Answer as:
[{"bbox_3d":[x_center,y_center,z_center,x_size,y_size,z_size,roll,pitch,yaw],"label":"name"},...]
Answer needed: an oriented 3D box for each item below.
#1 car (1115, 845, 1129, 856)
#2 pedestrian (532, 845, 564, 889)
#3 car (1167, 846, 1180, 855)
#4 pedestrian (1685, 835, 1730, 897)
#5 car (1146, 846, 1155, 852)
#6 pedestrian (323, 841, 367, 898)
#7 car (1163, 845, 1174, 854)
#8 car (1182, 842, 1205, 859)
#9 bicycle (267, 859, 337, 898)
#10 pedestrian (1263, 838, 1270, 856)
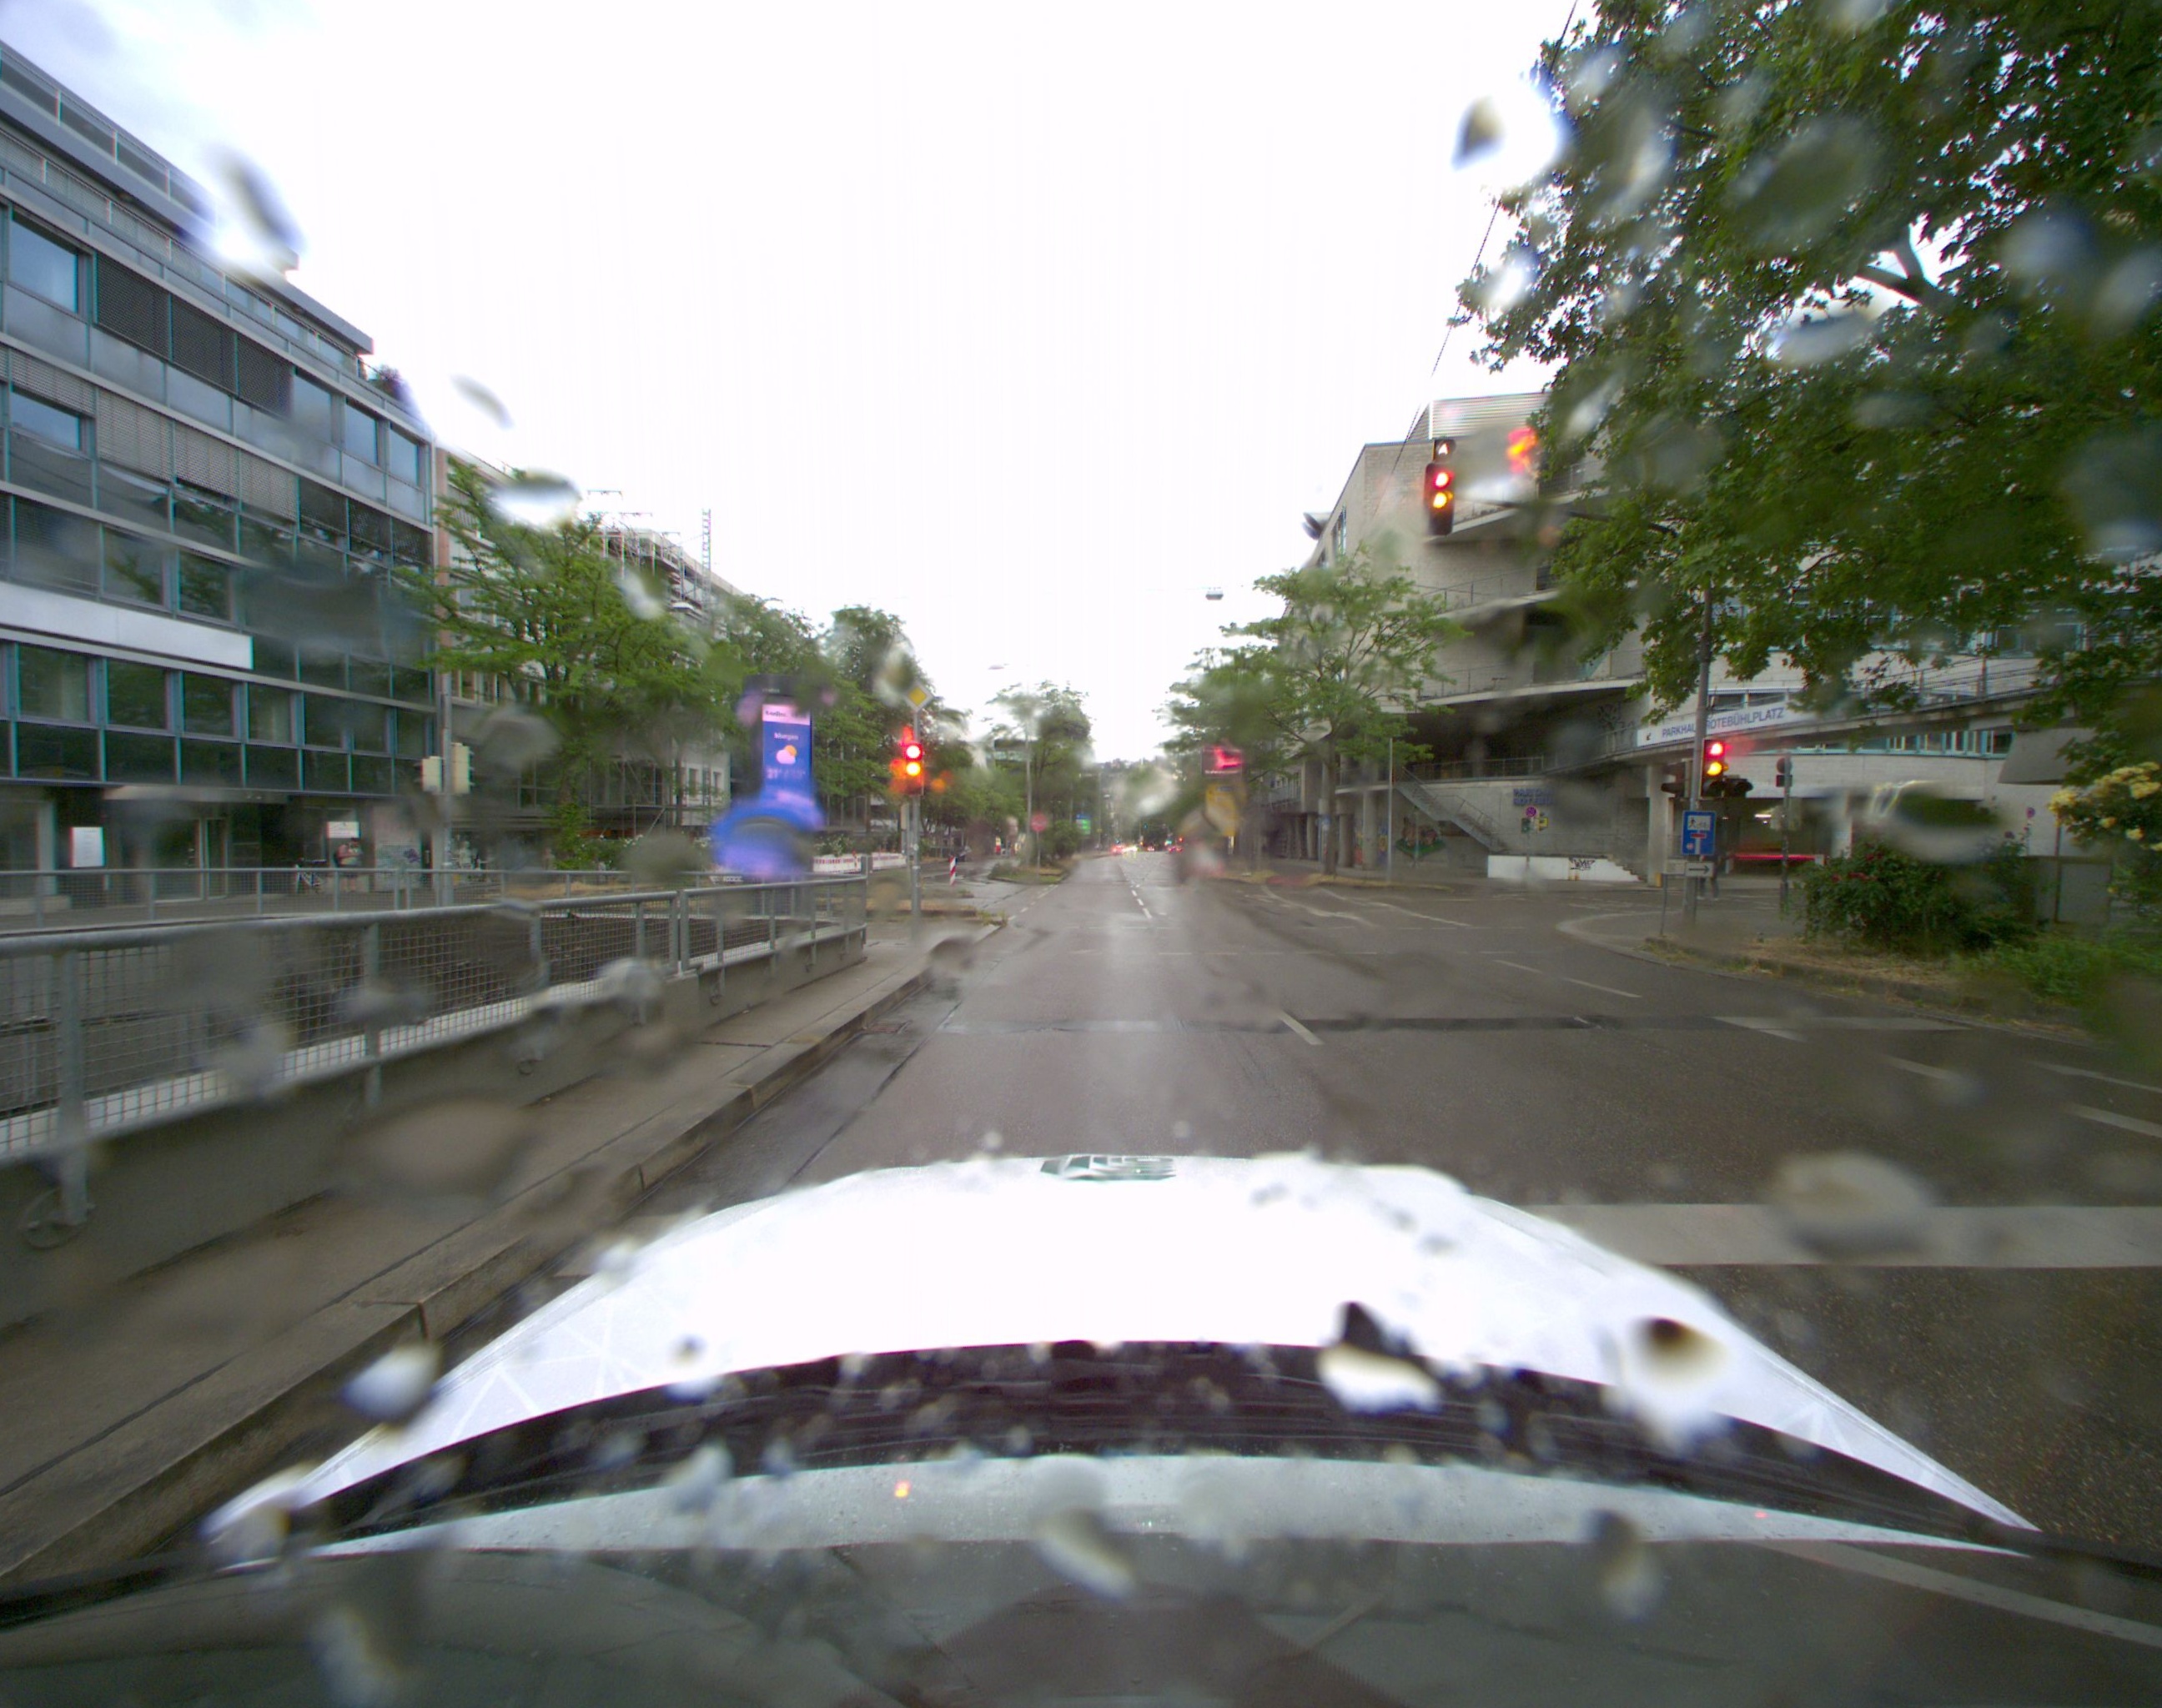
[{"bbox_3d":[6.522,-0.581,129.362,1.819,1.640,4.308,1,0,6],"label":"car"},{"bbox_3d":[-21.841,0.520,33.370,0.691,1.741,0.876,1,0,-1],"label":"pedestrian"},{"bbox_3d":[17.639,-0.622,155.444,1.986,1.723,4.001,0,-1,1],"label":"car"},{"bbox_3d":[19.296,0.362,25.096,0.843,1.910,0.758,0,0,1],"label":"pedestrian"},{"bbox_3d":[20.368,-1.483,238.950,1.989,1.758,3.995,1,0,-4],"label":"car"},{"bbox_3d":[-22.808,0.483,25.242,0.694,1.741,0.694,1,0,-4],"label":"pedestrian"},{"bbox_3d":[17.868,-0.907,166.647,1.986,1.736,4.001,0,-1,2],"label":"car"},{"bbox_3d":[11.539,-0.336,83.346,2.324,1.691,4.010,0,0,9],"label":"car"},{"bbox_3d":[-22.954,0.697,24.041,0.444,1.085,1.567,0,0,6],"label":"bicycle"},{"bbox_3d":[20.263,-0.724,88.927,0.770,1.920,0.705,-1,-1,11],"label":"pedestrian"}]
